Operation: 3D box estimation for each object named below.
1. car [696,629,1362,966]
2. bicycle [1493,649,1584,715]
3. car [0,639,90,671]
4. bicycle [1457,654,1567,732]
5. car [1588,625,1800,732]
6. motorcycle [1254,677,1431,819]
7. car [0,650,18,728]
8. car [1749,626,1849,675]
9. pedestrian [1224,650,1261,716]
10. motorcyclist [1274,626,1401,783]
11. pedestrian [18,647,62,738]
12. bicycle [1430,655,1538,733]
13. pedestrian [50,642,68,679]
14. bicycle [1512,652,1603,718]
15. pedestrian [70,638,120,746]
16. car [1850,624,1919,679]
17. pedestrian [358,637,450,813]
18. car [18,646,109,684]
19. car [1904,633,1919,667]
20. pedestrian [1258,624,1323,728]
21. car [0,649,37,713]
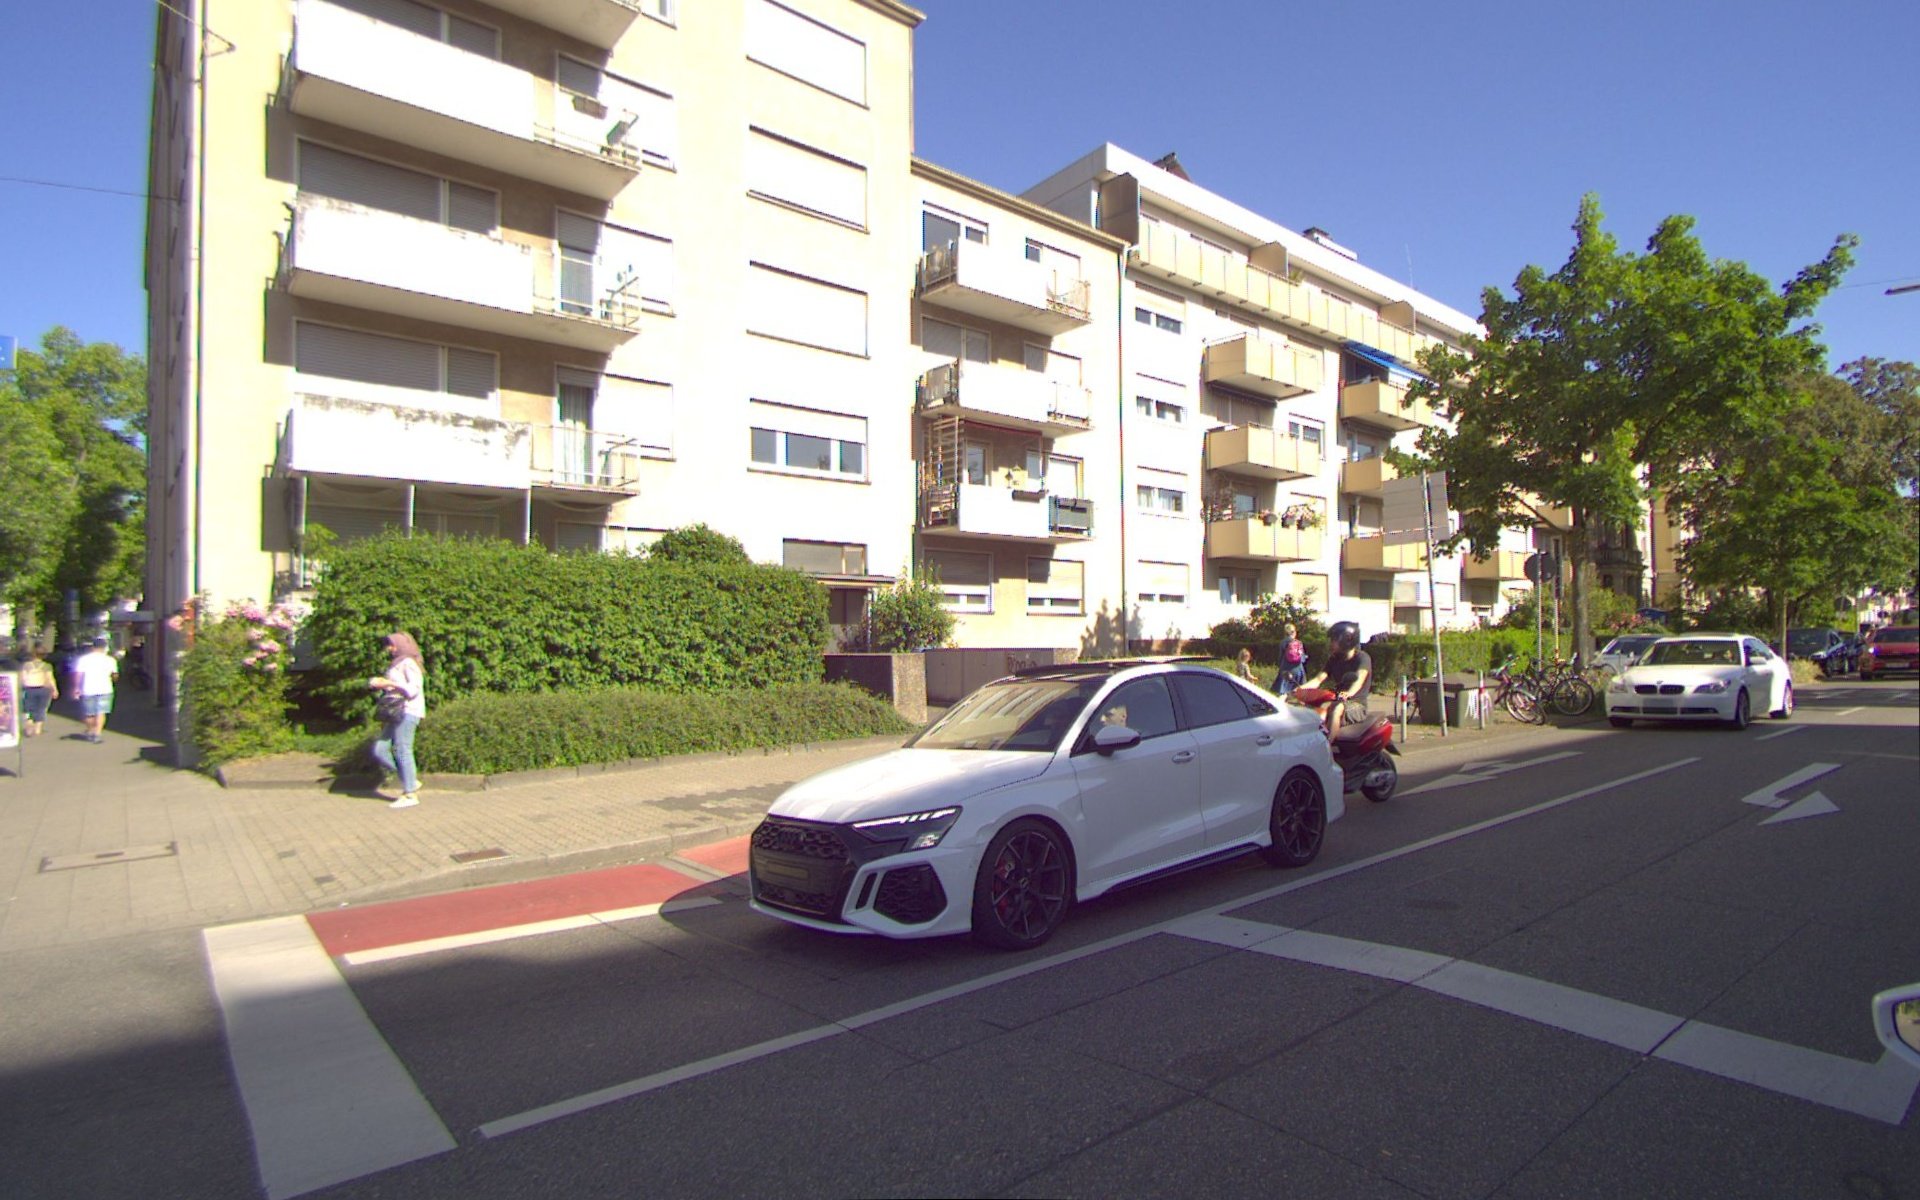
[{"bbox_3d":[0.665,1.010,6.615,4.235,1.454,1.912,1,-6,-42],"label":"car"},{"bbox_3d":[11.107,1.561,19.346,0.441,1.175,1.574,8,-5,-17],"label":"bicycle"},{"bbox_3d":[-71.623,4.268,78.414,1.952,2.424,5.526,-3,-3,45],"label":"car"},{"bbox_3d":[9.420,1.561,17.208,0.441,1.174,1.574,-15,2,-17],"label":"bicycle"},{"bbox_3d":[12.429,1.266,16.930,4.212,1.578,1.796,1,-5,-39],"label":"car"},{"bbox_3d":[3.594,1.330,9.397,1.668,1.149,0.741,1,-5,-38],"label":"motorcycle"},{"bbox_3d":[-21.068,1.871,21.000,1.815,1.523,4.744,-2,-1,-41],"label":"car"},{"bbox_3d":[28.915,1.729,34.569,4.212,1.578,1.796,1,-5,-39],"label":"car"},{"bbox_3d":[5.173,1.509,18.372,0.526,1.161,0.383,1,-2,-34],"label":"pedestrian"},{"bbox_3d":[3.510,0.948,9.357,0.785,1.373,0.750,1,-4,-37],"label":"motorcyclist"},{"bbox_3d":[-16.560,1.649,18.090,0.529,1.602,0.556,1,-2,-40],"label":"pedestrian"},{"bbox_3d":[8.863,1.567,17.066,0.441,1.174,1.574,-15,2,-17],"label":"bicycle"},{"bbox_3d":[-44.249,2.968,49.319,0.618,1.830,0.496,1,-2,-40],"label":"pedestrian"},{"bbox_3d":[11.559,1.627,19.474,0.441,1.175,1.574,8,-5,-17],"label":"bicycle"},{"bbox_3d":[-14.152,1.489,16.443,0.570,1.711,0.662,1,-2,-39],"label":"pedestrian"},{"bbox_3d":[29.181,1.553,31.009,4.212,1.578,1.796,1,-5,-39],"label":"car"},{"bbox_3d":[-5.404,1.173,9.768,0.643,1.617,0.688,1,-3,-42],"label":"pedestrian"},{"bbox_3d":[-52.313,3.764,58.725,3.845,2.069,1.892,1,-3,-39],"label":"car"},{"bbox_3d":[38.972,1.922,39.705,4.212,1.299,1.796,1,-5,-39],"label":"car"},{"bbox_3d":[5.660,1.278,17.181,0.959,1.705,0.569,1,-2,-35],"label":"pedestrian"},{"bbox_3d":[-25.021,2.064,25.766,1.815,1.523,4.744,-2,-1,-41],"label":"car"}]
